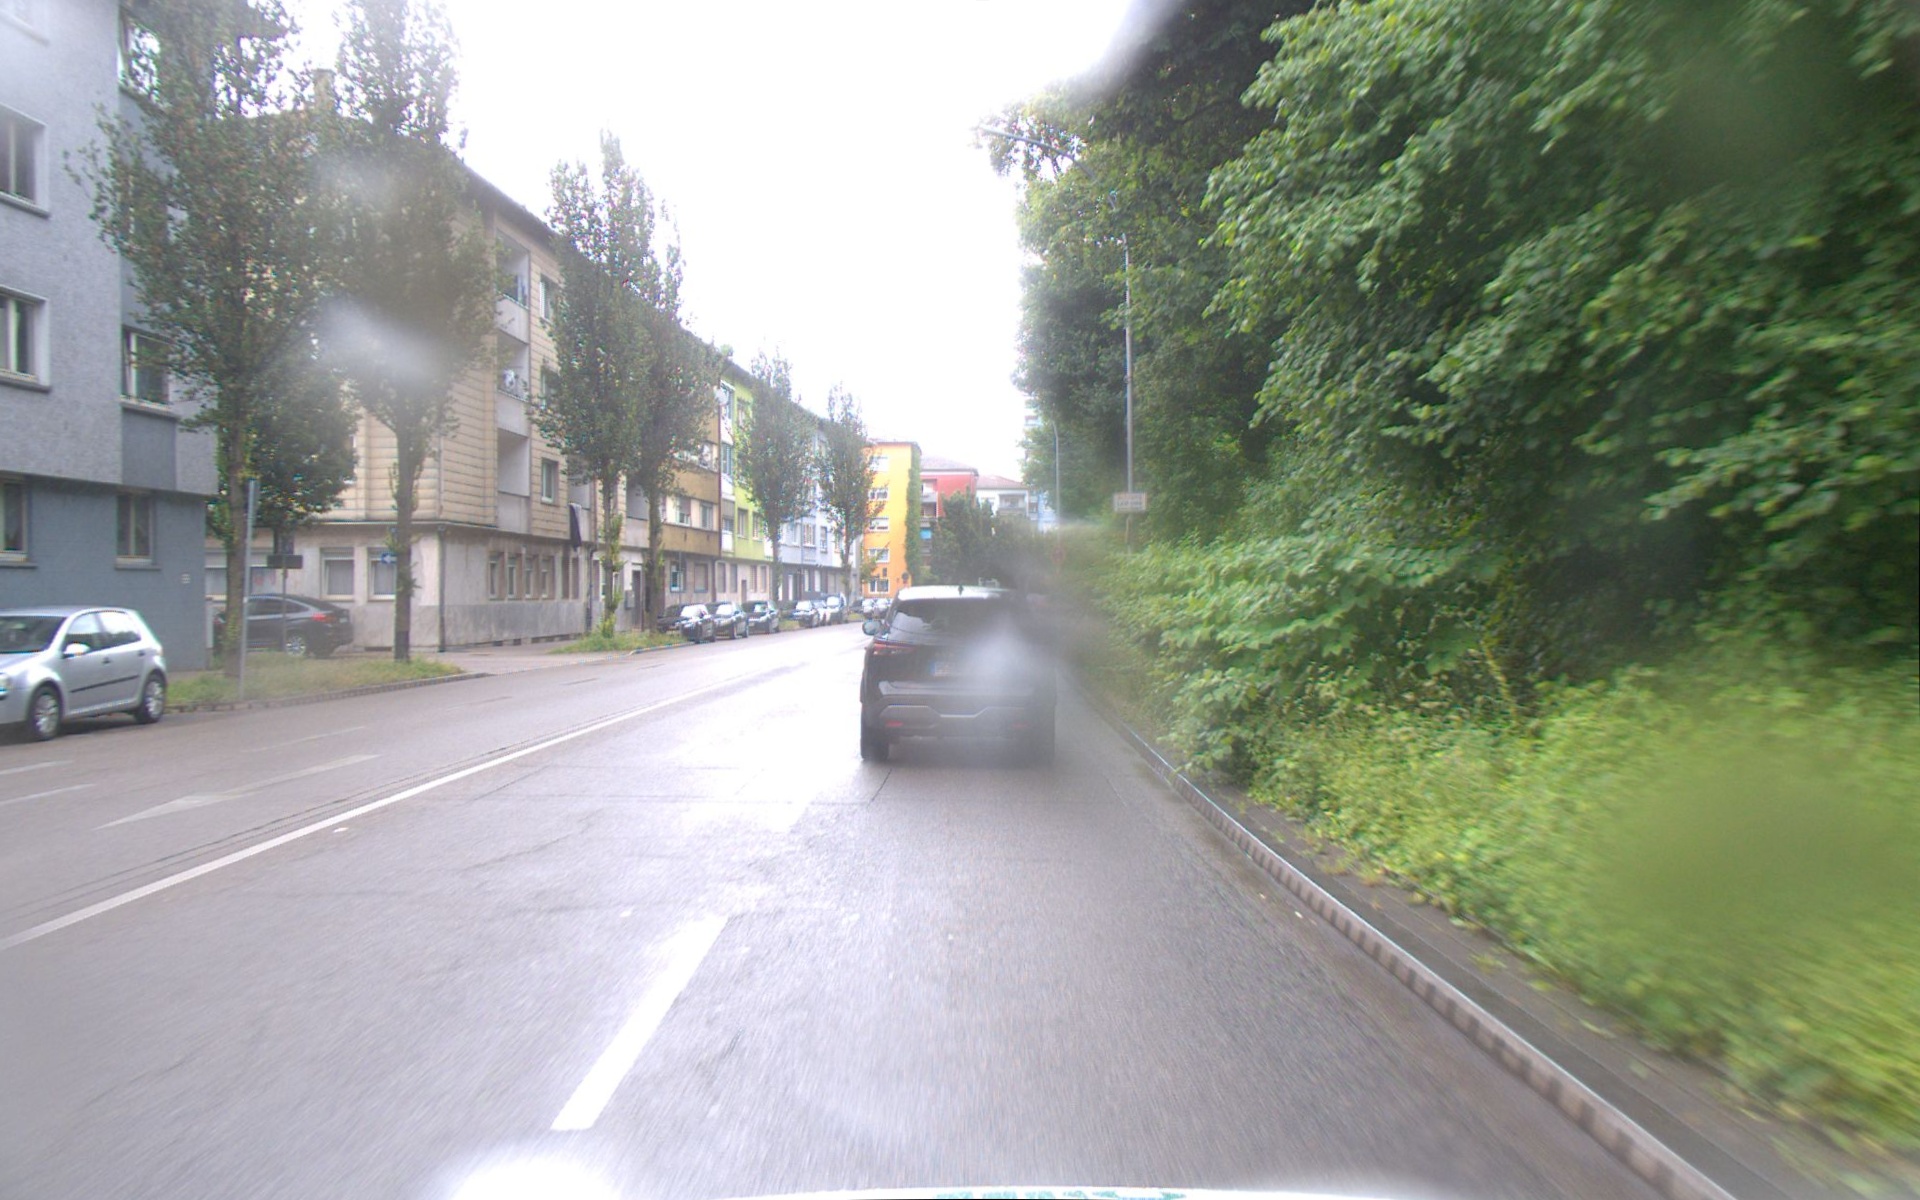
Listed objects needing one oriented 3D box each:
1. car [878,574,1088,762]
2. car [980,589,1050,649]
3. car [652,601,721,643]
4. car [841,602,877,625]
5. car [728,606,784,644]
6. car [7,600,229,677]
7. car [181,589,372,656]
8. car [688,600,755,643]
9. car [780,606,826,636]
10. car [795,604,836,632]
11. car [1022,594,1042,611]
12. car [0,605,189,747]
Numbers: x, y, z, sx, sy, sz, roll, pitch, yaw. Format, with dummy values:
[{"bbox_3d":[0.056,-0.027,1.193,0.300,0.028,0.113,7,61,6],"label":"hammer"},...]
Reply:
[{"bbox_3d":[0.150,0.574,16.397,1.807,1.610,3.999,1,0,-2],"label":"car"},{"bbox_3d":[1.702,0.546,50.031,1.847,1.741,4.003,0,0,6],"label":"car"},{"bbox_3d":[-9.794,0.764,59.417,1.592,1.411,3.990,-1,0,3],"label":"car"},{"bbox_3d":[-6.729,0.891,110.601,1.653,1.381,4.582,-4,0,5],"label":"car"},{"bbox_3d":[-9.160,1.103,74.666,1.682,1.514,4.516,-2,0,3],"label":"car"},{"bbox_3d":[-18.157,0.816,35.786,3.971,1.520,1.685,-1,-1,-45],"label":"car"},{"bbox_3d":[-17.498,0.565,42.480,4.063,1.606,1.927,-1,1,2],"label":"car"},{"bbox_3d":[-9.407,0.831,65.642,1.780,1.514,4.791,-2,0,2],"label":"car"},{"bbox_3d":[-8.162,1.078,86.382,1.780,1.396,4.682,-2,0,2],"label":"car"},{"bbox_3d":[-8.017,0.980,92.081,1.645,1.400,4.002,-3,0,4],"label":"car"},{"bbox_3d":[6.336,0.218,144.961,1.670,1.504,3.682,-1,0,4],"label":"car"},{"bbox_3d":[-10.900,0.828,19.531,1.689,1.478,4.204,-1,0,-2],"label":"car"}]
